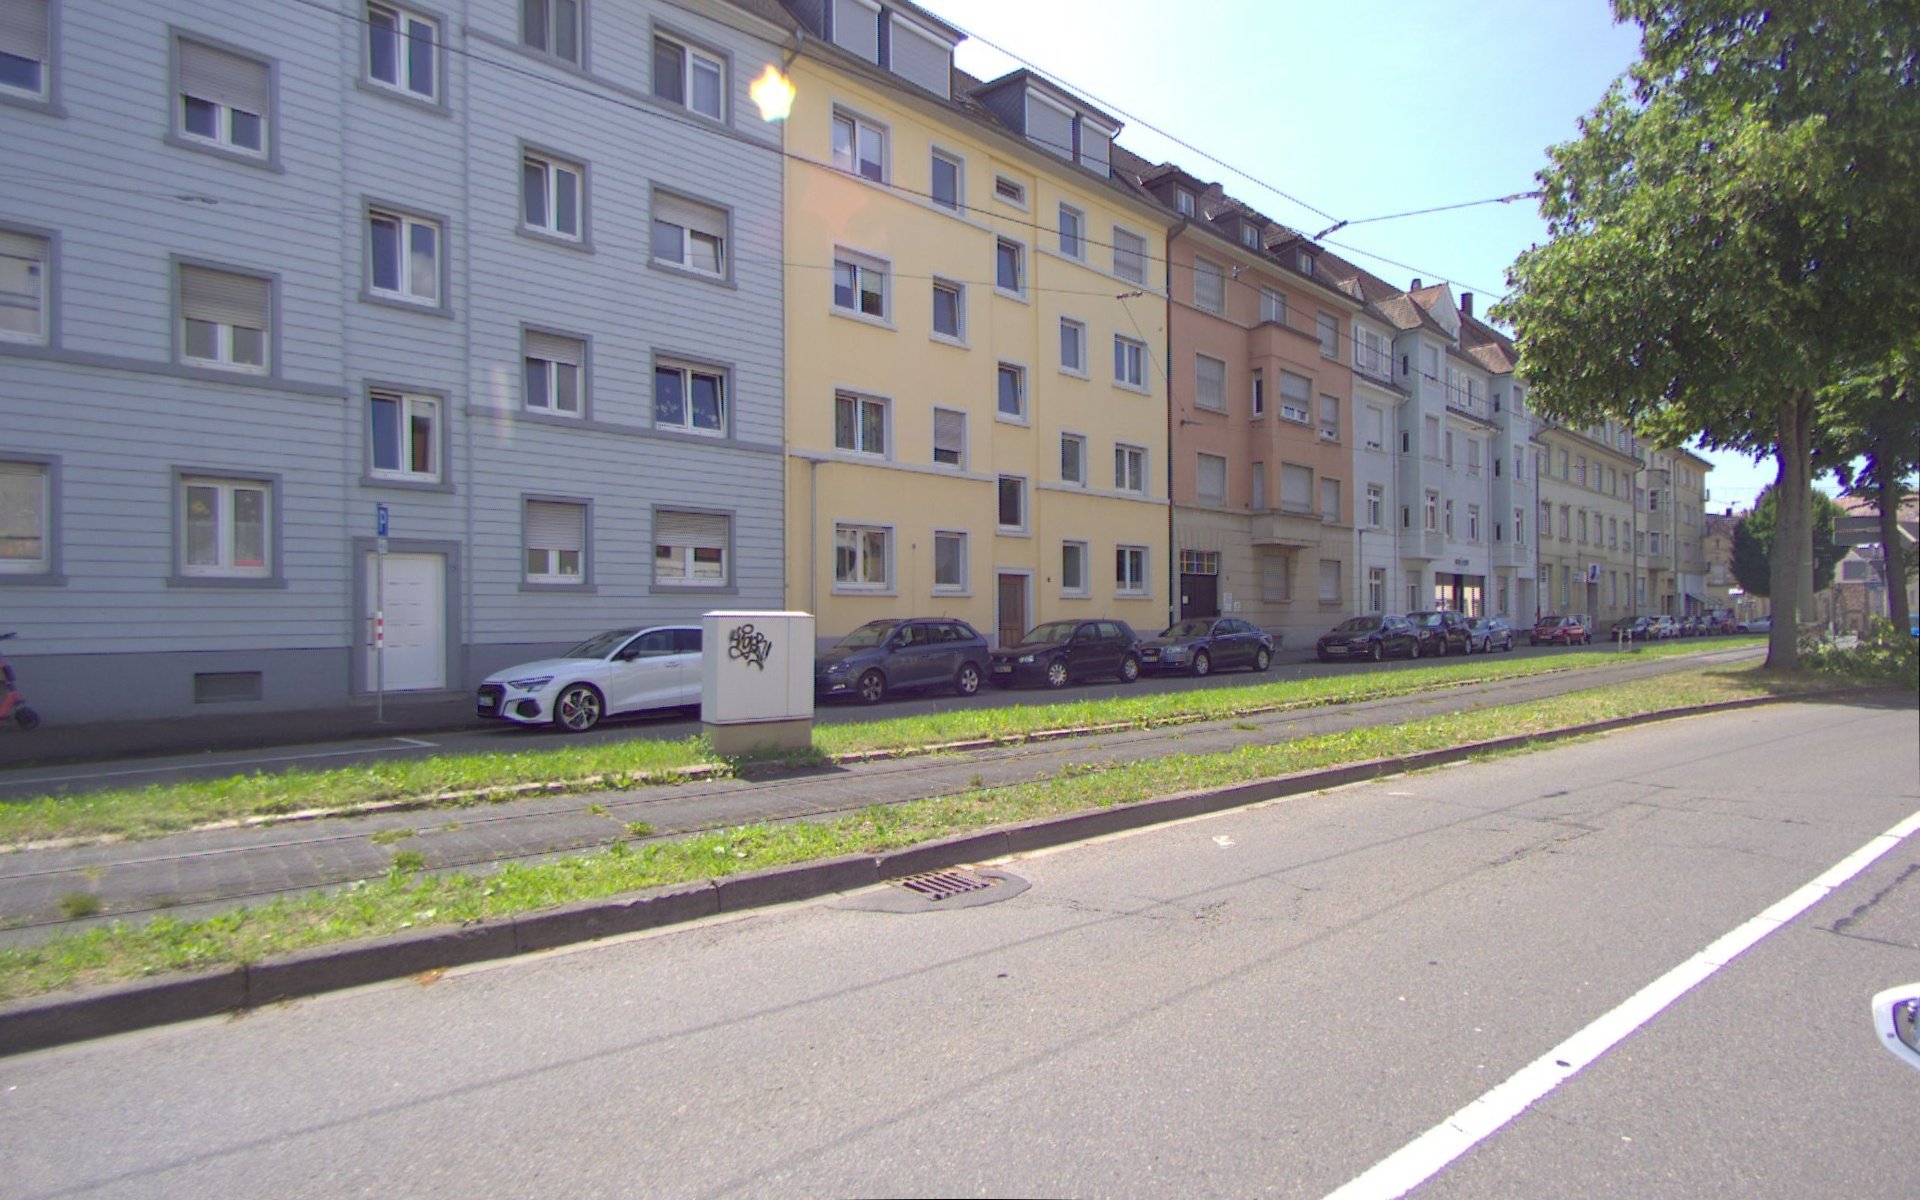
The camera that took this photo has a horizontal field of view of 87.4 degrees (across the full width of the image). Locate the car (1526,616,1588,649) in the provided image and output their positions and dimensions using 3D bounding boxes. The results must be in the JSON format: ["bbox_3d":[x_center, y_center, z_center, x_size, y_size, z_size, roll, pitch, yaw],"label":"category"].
[{"bbox_3d":[28.098,1.509,47.249,3.601,1.470,1.556,0,-2,-44],"label":"car"}]

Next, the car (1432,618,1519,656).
[{"bbox_3d":[20.505,1.461,39.894,4.221,1.374,1.790,0,-2,-44],"label":"car"}]

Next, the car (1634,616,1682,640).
[{"bbox_3d":[42.803,1.716,61.549,3.831,1.408,1.670,0,-2,-44],"label":"car"}]

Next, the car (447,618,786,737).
[{"bbox_3d":[-4.933,1.052,14.839,1.908,1.470,4.349,-4,-3,44],"label":"car"}]

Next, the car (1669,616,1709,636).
[{"bbox_3d":[49.473,1.767,68.162,3.562,1.294,1.587,0,-2,-44],"label":"car"}]

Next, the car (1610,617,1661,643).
[{"bbox_3d":[38.820,1.727,57.705,3.831,1.378,1.670,0,-2,-44],"label":"car"}]

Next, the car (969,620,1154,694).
[{"bbox_3d":[2.293,1.188,22.020,4.113,1.418,1.813,0,-2,-44],"label":"car"}]

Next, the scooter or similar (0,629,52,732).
[{"bbox_3d":[-12.097,0.996,12.385,1.312,1.239,0.632,1,0,-44],"label":"scooter or similar"}]

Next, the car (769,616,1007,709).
[{"bbox_3d":[-1.249,1.098,18.909,1.908,1.525,4.299,-2,-2,44],"label":"car"}]

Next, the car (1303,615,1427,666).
[{"bbox_3d":[13.280,1.280,32.779,4.830,1.510,1.909,0,-2,-44],"label":"car"}]

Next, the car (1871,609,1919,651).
[{"bbox_3d":[36.497,1.132,38.662,1.787,1.512,3.983,0,0,38],"label":"car"}]

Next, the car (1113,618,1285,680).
[{"bbox_3d":[6.213,1.213,25.785,4.828,1.416,1.910,0,-2,-43],"label":"car"}]

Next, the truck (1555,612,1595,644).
[{"bbox_3d":[30.853,1.392,50.349,1.115,1.514,2.577,-3,-2,45],"label":"truck"}]

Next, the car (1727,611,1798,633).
[{"bbox_3d":[61.710,1.699,77.260,4.158,1.524,1.993,-3,-2,43],"label":"car"}]

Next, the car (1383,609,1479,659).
[{"bbox_3d":[17.218,1.229,36.625,4.114,1.708,1.819,0,-2,-44],"label":"car"}]

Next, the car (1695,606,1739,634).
[{"bbox_3d":[56.295,1.466,74.642,4.738,1.936,1.835,0,-2,-44],"label":"car"}]

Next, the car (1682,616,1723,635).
[{"bbox_3d":[52.648,1.808,71.214,4.235,1.294,1.626,0,-2,-44],"label":"car"}]
